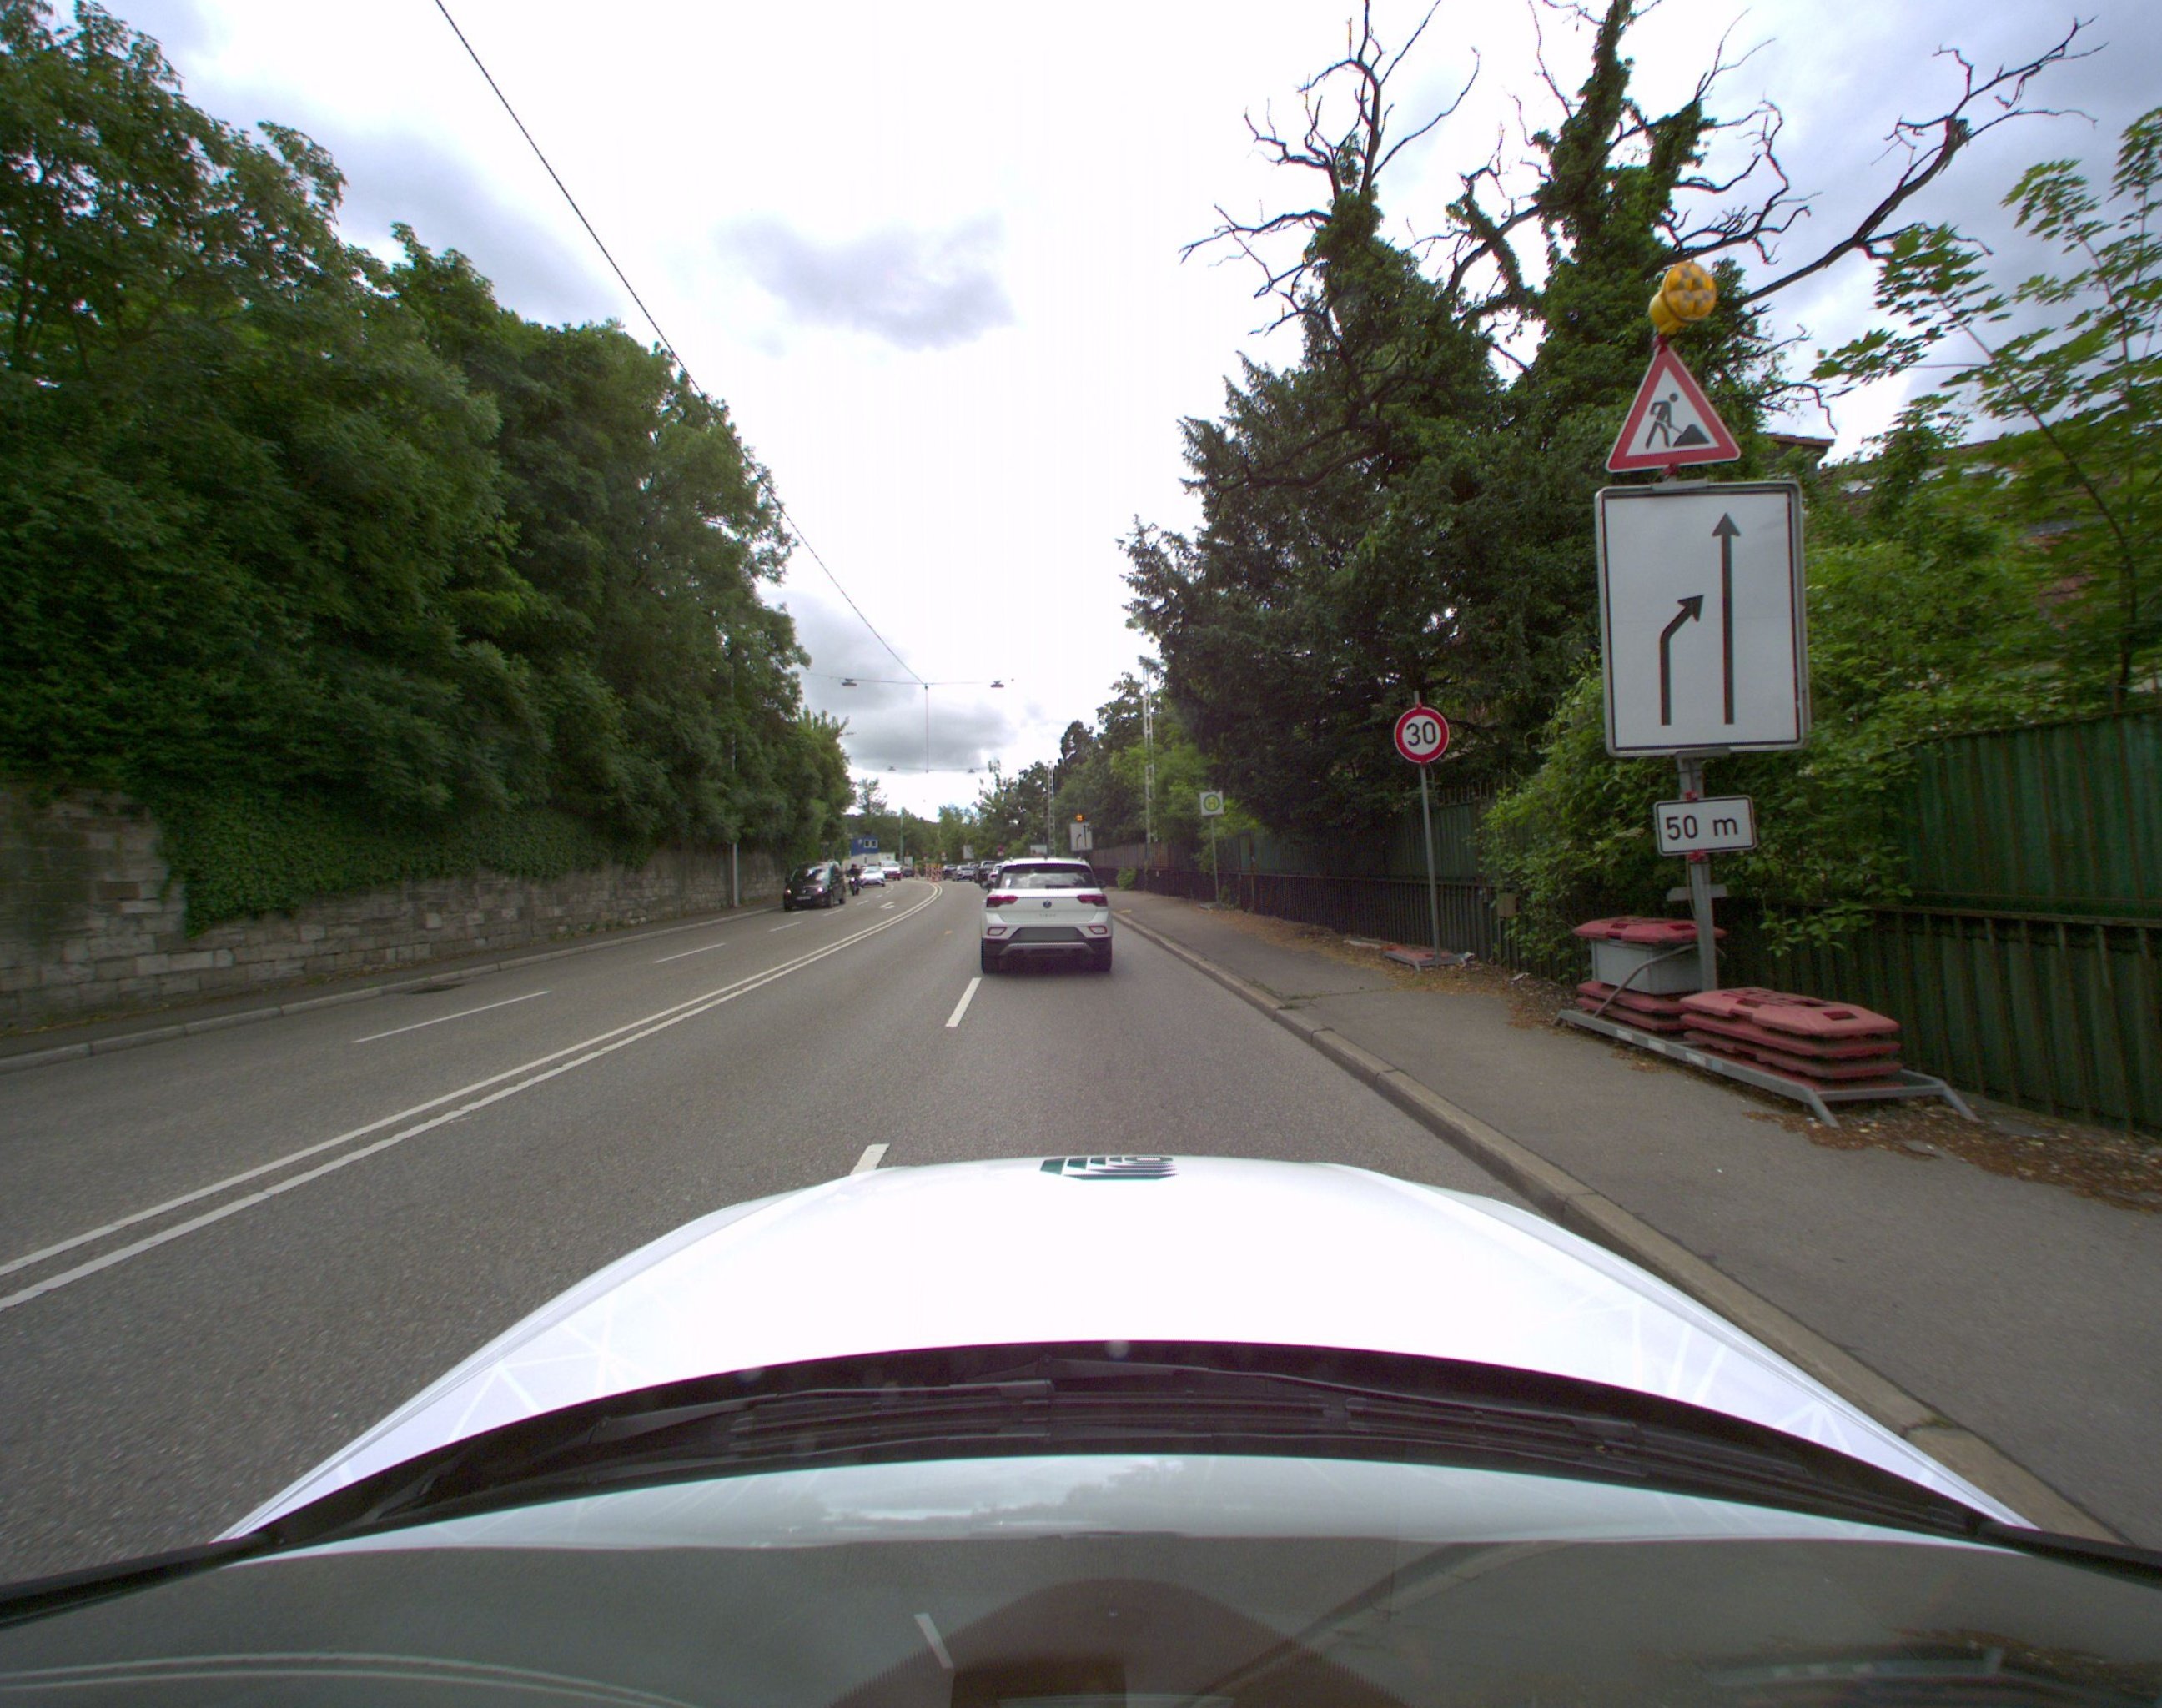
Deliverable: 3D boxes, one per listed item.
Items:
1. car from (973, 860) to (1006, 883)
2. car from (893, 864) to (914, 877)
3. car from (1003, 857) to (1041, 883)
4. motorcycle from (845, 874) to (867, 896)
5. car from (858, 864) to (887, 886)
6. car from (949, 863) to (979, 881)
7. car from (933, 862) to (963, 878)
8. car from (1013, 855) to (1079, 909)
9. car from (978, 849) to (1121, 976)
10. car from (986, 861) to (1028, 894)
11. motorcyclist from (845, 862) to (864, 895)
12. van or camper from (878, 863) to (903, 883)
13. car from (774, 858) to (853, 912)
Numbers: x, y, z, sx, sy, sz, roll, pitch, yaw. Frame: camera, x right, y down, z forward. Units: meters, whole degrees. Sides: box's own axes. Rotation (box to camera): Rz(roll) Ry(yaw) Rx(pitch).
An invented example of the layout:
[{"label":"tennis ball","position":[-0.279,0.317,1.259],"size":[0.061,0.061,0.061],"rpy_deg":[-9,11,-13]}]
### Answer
[{"label":"car","position":[-6.664,1.218,59.168],"size":[1.995,1.556,4.134],"rpy_deg":[-1,0,-12]},{"label":"car","position":[-21.708,2.020,99.284],"size":[1.788,1.454,3.969],"rpy_deg":[-1,-1,-23]},{"label":"car","position":[-3.598,1.003,49.173],"size":[1.992,1.414,4.138],"rpy_deg":[-3,-1,-8]},{"label":"motorcycle","position":[-12.128,1.644,43.920],"size":[0.649,1.073,2.304],"rpy_deg":[-4,0,-5]},{"label":"car","position":[-15.156,1.522,59.295],"size":[1.784,1.466,4.083],"rpy_deg":[-4,-1,-12]},{"label":"car","position":[-10.355,1.574,71.677],"size":[1.998,1.450,4.126],"rpy_deg":[-2,-1,-17]},{"label":"car","position":[-13.355,1.614,81.605],"size":[2.003,1.450,4.116],"rpy_deg":[-2,-1,-25]},{"label":"car","position":[-1.225,0.886,26.886],"size":[1.757,1.609,3.783],"rpy_deg":[-1,-1,-9]},{"label":"car","position":[-0.624,0.758,12.129],"size":[1.756,1.556,3.785],"rpy_deg":[-1,-1,-8]},{"label":"car","position":[-3.586,1.120,39.213],"size":[1.757,1.471,3.783],"rpy_deg":[-1,-1,-9]},{"label":"motorcyclist","position":[-12.142,1.302,43.654],"size":[0.647,1.705,1.336],"rpy_deg":[-4,0,-5]},{"label":"van or camper","position":[-19.023,1.916,81.481],"size":[1.889,1.878,4.750],"rpy_deg":[-2,-1,-9]},{"label":"car","position":[-10.336,1.138,31.830],"size":[1.740,1.845,4.244],"rpy_deg":[-4,0,-3]}]
